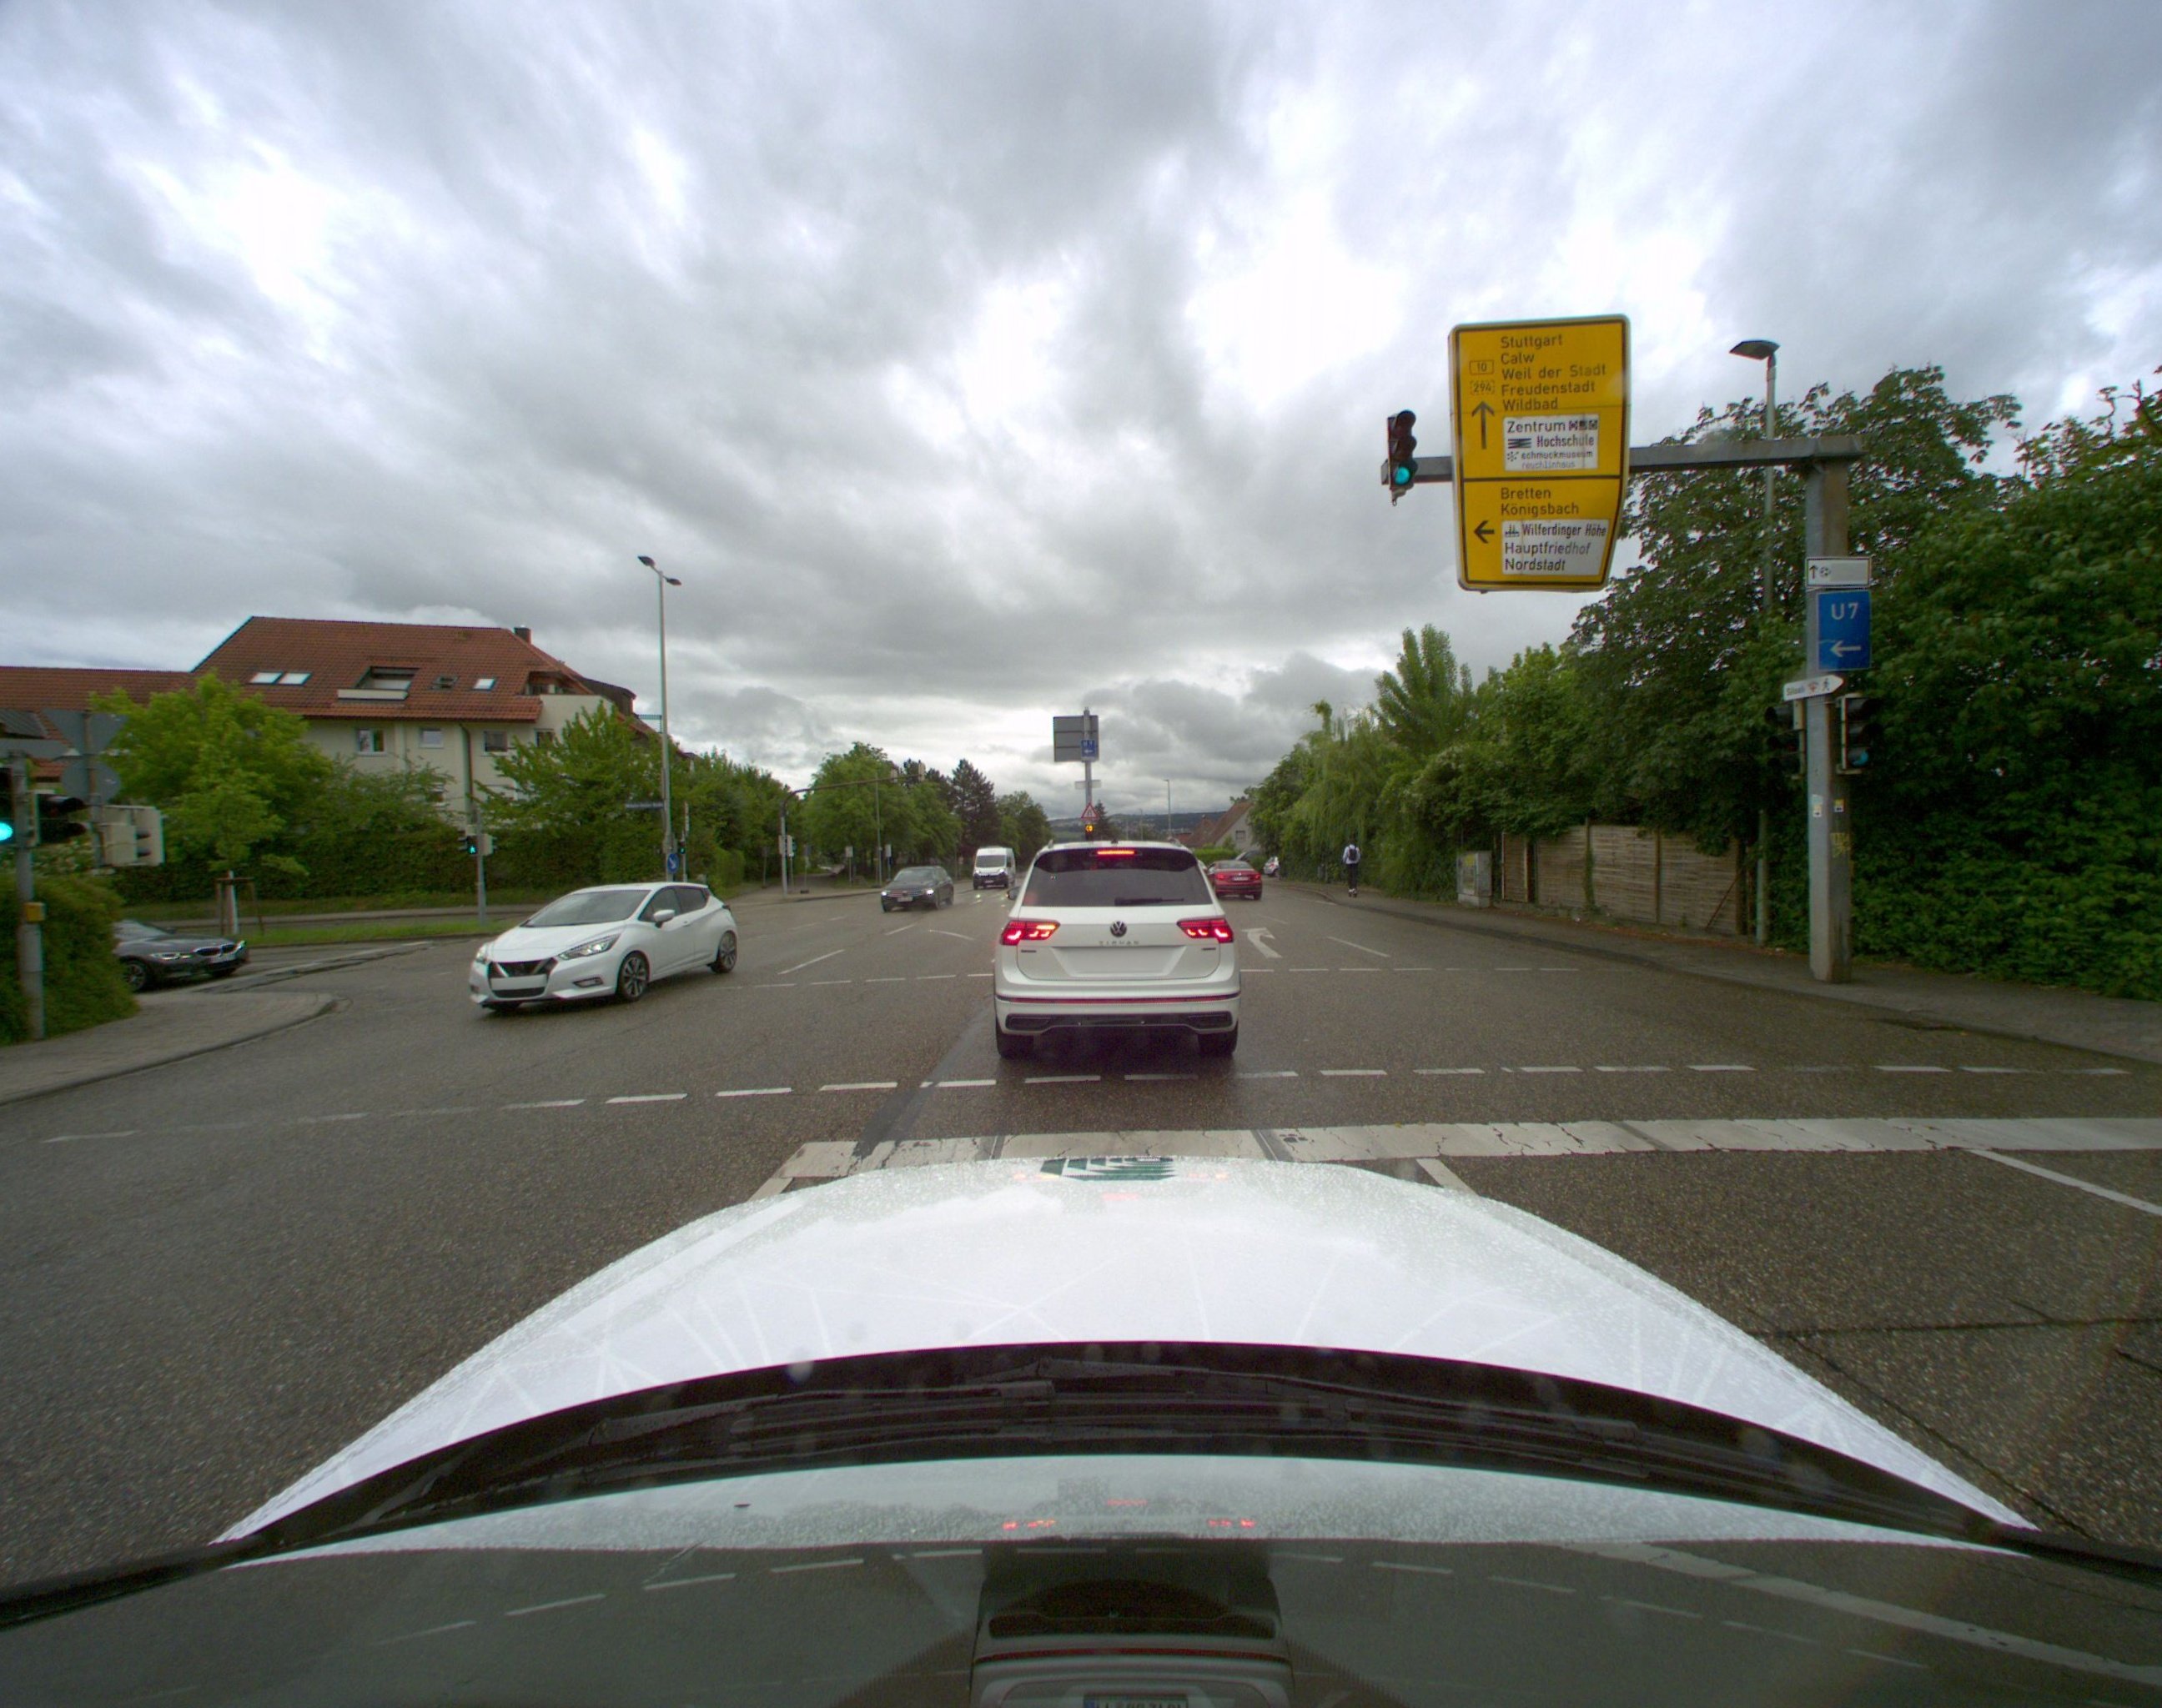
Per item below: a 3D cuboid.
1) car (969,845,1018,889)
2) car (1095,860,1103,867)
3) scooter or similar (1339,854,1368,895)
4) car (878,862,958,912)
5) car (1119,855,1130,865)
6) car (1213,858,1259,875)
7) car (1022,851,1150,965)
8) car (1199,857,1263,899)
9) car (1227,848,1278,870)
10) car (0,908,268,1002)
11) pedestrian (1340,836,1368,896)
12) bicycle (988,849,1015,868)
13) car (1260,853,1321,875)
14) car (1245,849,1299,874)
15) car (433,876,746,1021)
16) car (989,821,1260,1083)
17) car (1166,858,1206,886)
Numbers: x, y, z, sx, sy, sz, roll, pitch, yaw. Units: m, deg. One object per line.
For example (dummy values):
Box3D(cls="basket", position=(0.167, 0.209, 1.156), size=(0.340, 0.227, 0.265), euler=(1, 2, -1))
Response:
Box3D(cls="car", position=(-5.317, 0.751, 50.448), size=(2.289, 2.528, 5.773), euler=(-2, 0, 0))
Box3D(cls="car", position=(4.343, 2.376, 200.891), size=(1.843, 1.574, 4.002), euler=(-2, 0, 2))
Box3D(cls="scooter or similar", position=(9.386, 0.693, 28.066), size=(0.460, 1.361, 1.384), euler=(-1, 0, -2))
Box3D(cls="car", position=(-5.595, 1.082, 28.553), size=(1.770, 1.502, 4.472), euler=(-3, 0, 1))
Box3D(cls="car", position=(7.818, 1.052, 145.338), size=(1.843, 1.574, 4.002), euler=(-2, 0, 2))
Box3D(cls="car", position=(13.145, 1.059, 69.172), size=(3.675, 1.370, 1.518), euler=(-1, -2, 0))
Box3D(cls="car", position=(0.150, 0.768, 13.490), size=(1.791, 1.589, 3.928), euler=(-1, 0, 2))
Box3D(cls="car", position=(5.448, 0.831, 29.940), size=(1.621, 1.403, 3.688), euler=(0, 0, -1))
Box3D(cls="car", position=(13.479, 0.378, 64.126), size=(3.618, 1.626, 1.790), euler=(-1, 2, -3))
Box3D(cls="car", position=(-19.897, 2.058, 16.649), size=(4.413, 1.392, 1.774), euler=(-4, 2, -5))
Box3D(cls="pedestrian", position=(9.399, 0.415, 28.028), size=(0.654, 2.002, 0.717), euler=(-1, -1, -3))
Box3D(cls="bicycle", position=(-5.242, 0.279, 53.570), size=(1.631, 1.126, 0.468), euler=(-3, 0, 0))
Box3D(cls="car", position=(14.468, 0.712, 56.311), size=(3.709, 1.395, 1.725), euler=(-2, -2, -6))
Box3D(cls="car", position=(14.395, 0.540, 61.542), size=(3.618, 1.746, 1.707), euler=(-1, 1, -2))
Box3D(cls="car", position=(-6.255, 1.102, 10.964), size=(1.740, 1.397, 3.803), euler=(-4, 0, 1))
Box3D(cls="car", position=(0.326, 0.645, 7.472), size=(1.756, 1.696, 4.273), euler=(1, 0, 1))
Box3D(cls="car", position=(5.714, 0.937, 44.700), size=(1.659, 1.427, 4.304), euler=(0, 0, 0))
